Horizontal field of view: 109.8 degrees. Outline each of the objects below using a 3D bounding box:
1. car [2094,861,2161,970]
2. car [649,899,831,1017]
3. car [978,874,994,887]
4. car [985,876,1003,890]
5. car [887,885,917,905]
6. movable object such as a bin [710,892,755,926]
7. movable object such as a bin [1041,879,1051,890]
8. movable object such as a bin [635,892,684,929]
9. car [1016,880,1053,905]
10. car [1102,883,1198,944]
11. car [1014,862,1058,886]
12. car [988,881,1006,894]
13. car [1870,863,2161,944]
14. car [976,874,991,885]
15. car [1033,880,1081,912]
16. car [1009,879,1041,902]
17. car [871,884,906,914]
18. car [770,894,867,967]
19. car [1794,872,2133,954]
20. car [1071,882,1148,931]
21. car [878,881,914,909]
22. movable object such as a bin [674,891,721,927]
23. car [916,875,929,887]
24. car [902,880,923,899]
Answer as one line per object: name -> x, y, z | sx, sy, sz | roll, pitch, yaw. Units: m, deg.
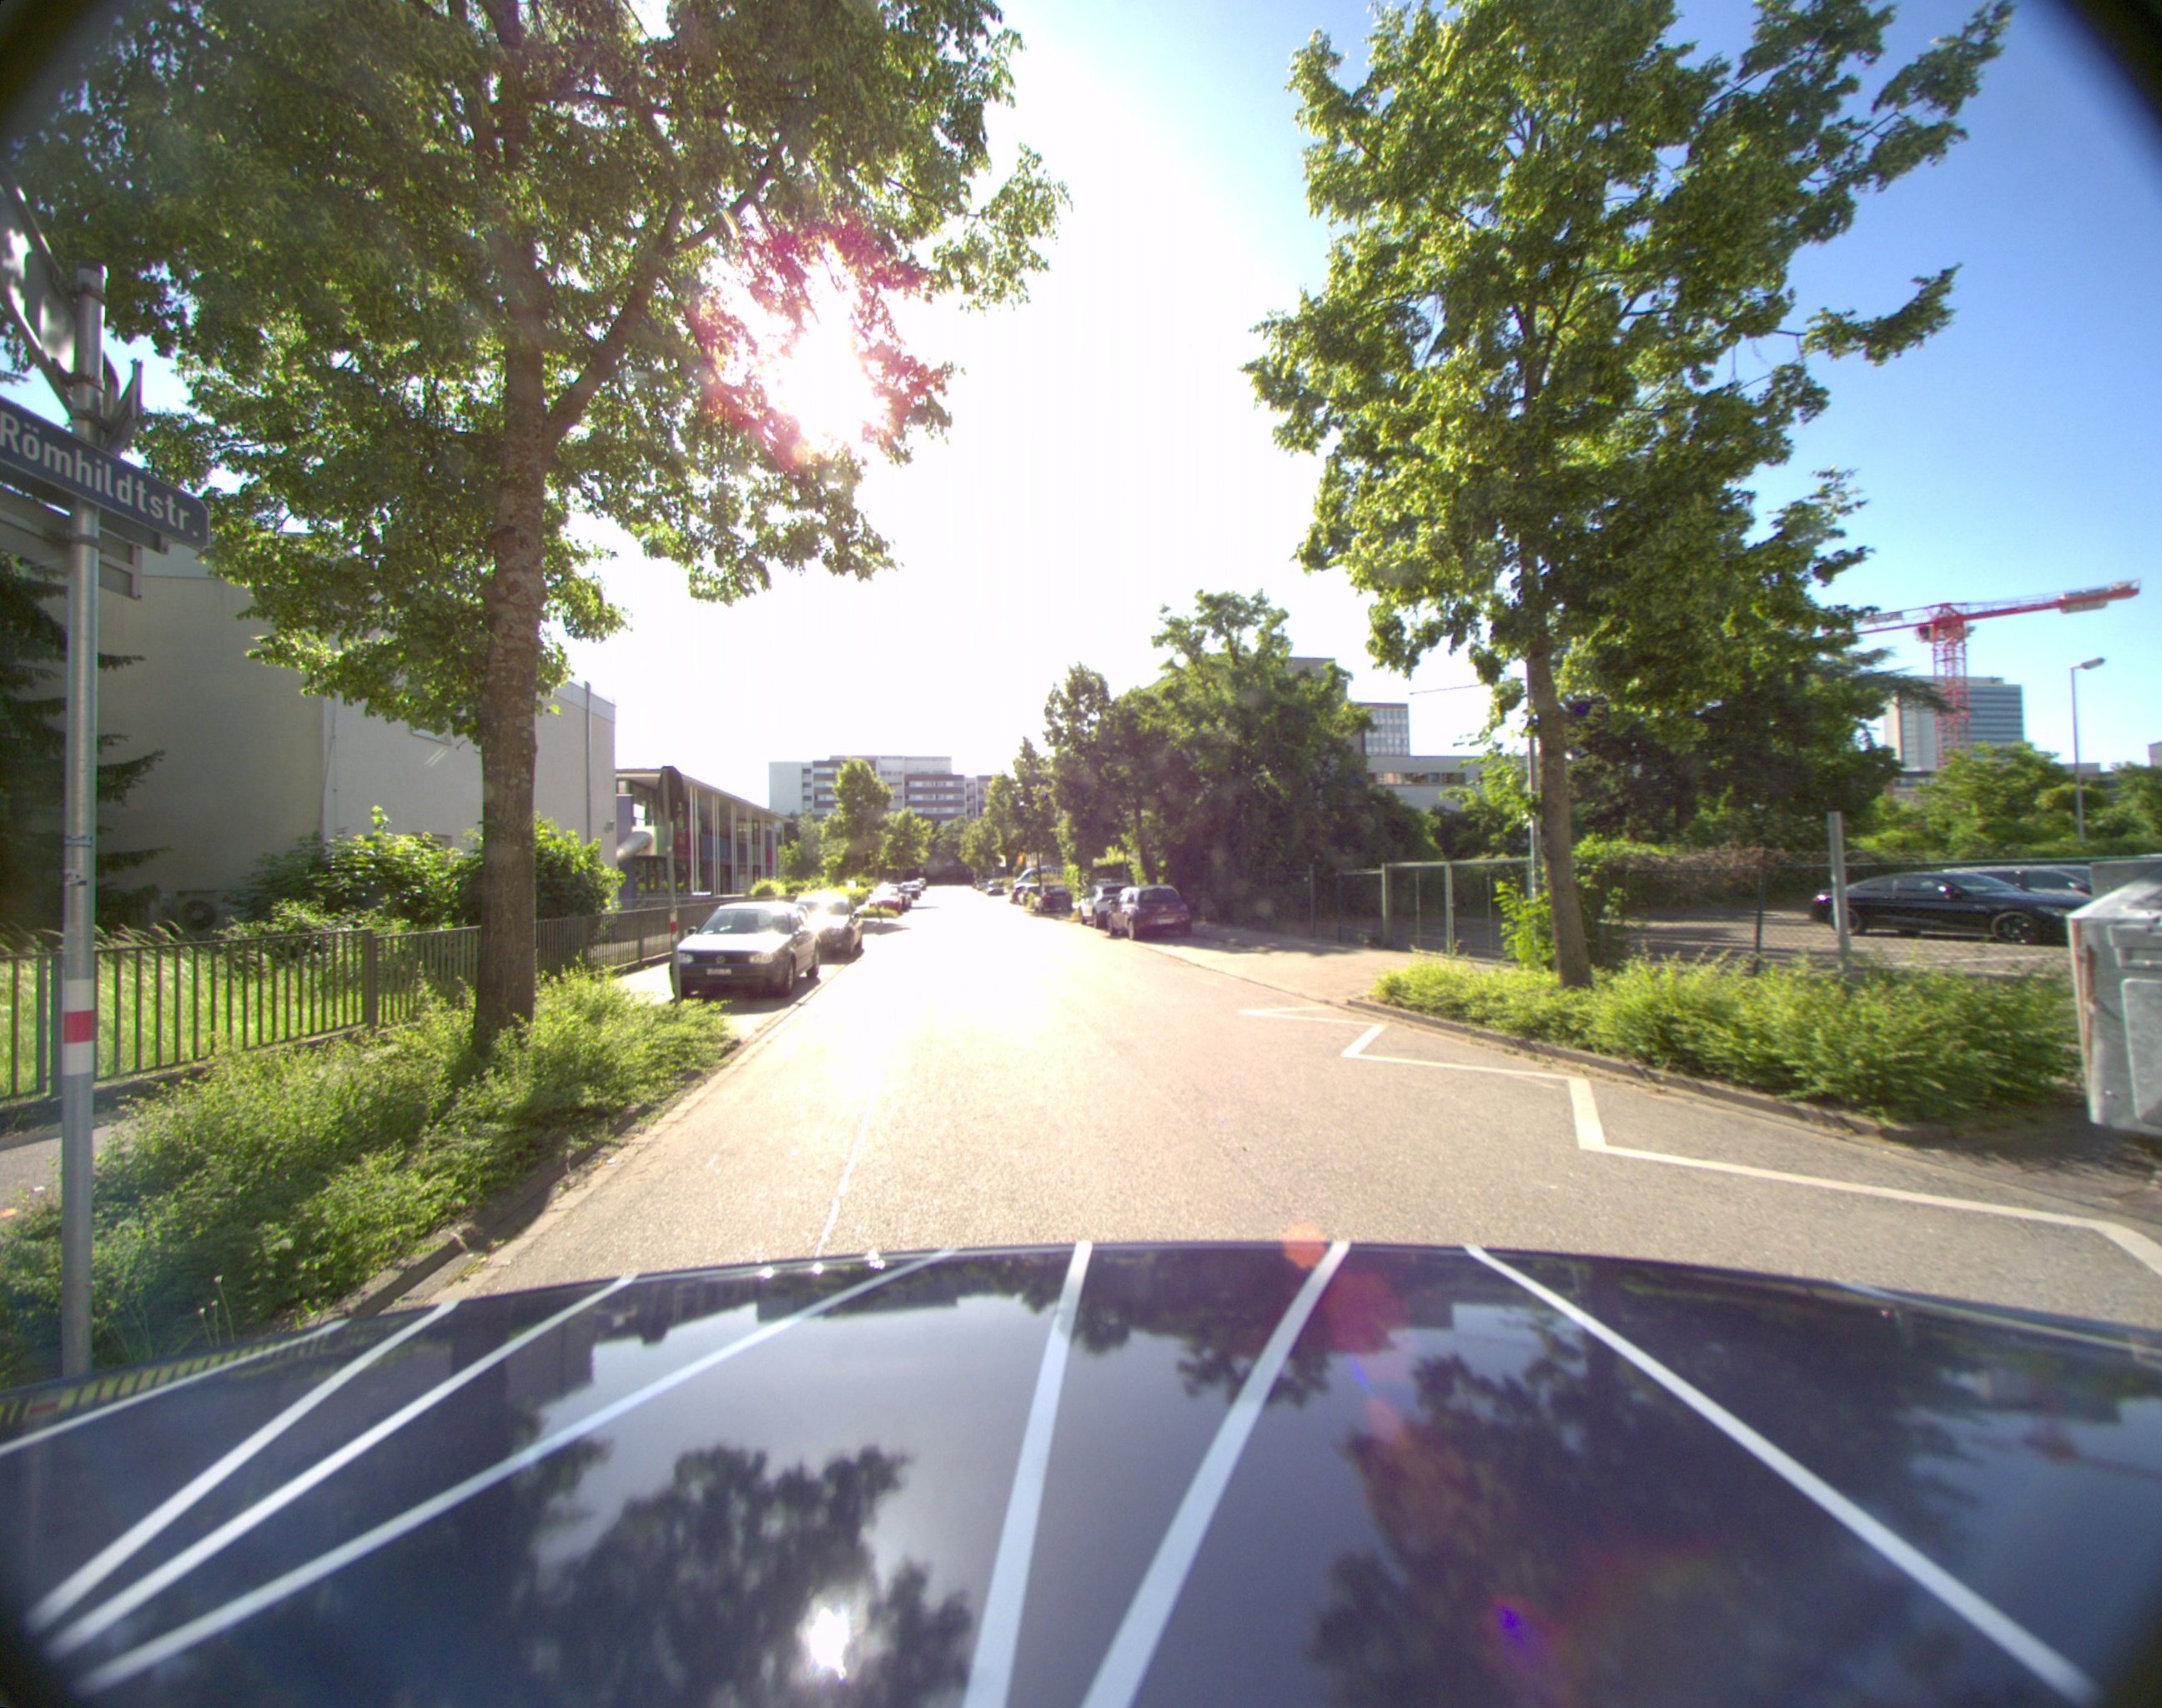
car -> 17.273, 0.859, 9.905 | 2.000, 1.600, 4.424 | -1, -2, -8
car -> -5.594, 1.606, 13.076 | 1.752, 1.413, 4.421 | -2, -1, -10
car -> -13.011, 3.580, 103.962 | 1.797, 1.590, 3.886 | -2, -1, -13
car -> -9.755, 3.235, 84.846 | 1.632, 1.515, 3.560 | -1, -2, -11
car -> -13.035, 2.945, 55.339 | 1.970, 1.312, 4.771 | 1, -2, -14
movable object such as a bin -> -15.071, 2.347, 32.927 | 1.371, 1.349, 1.630 | -1, -1, -10
movable object such as a bin -> -3.603, 3.118, 77.434 | 0.863, 1.031, 0.677 | -4, 0, -13
movable object such as a bin -> -17.945, 2.384, 32.390 | 1.334, 1.439, 1.630 | -1, -1, -10
car -> -3.085, 2.478, 49.723 | 1.846, 1.465, 4.024 | -3, -1, -11
car -> 1.911, 1.661, 22.066 | 1.723, 1.465, 3.543 | -3, -1, -12
car -> -5.691, 2.543, 96.276 | 5.158, 2.885, 2.012 | -1, -1, -14
car -> -8.777, 3.483, 78.924 | 1.632, 1.240, 3.560 | -1, -2, -10
car -> 20.652, 1.002, 16.609 | 1.972, 1.486, 4.373 | -1, -2, -8
car -> -14.466, 3.749, 112.820 | 1.797, 1.509, 3.886 | -2, -1, -13
car -> -1.327, 2.191, 40.351 | 1.846, 1.465, 4.356 | -3, -1, -10
car -> -4.138, 2.668, 55.861 | 1.846, 1.465, 4.097 | -3, -1, -11
car -> -10.861, 2.509, 43.048 | 1.681, 1.494, 3.844 | -1, -2, -11
car -> -6.491, 1.820, 19.151 | 1.790, 1.506, 3.997 | -1, -2, -12
car -> 18.560, 1.164, 16.377 | 1.972, 1.447, 4.373 | -1, -2, -8
car -> 0.922, 1.810, 27.203 | 1.846, 1.465, 3.999 | -3, -1, -11
car -> -11.799, 2.586, 48.635 | 1.906, 1.672, 4.408 | 0, -1, -10
movable object such as a bin -> -16.490, 2.332, 32.720 | 1.371, 1.439, 1.630 | -1, -1, -10
car -> -22.272, 3.799, 106.709 | 1.646, 1.458, 3.700 | 2, 0, -11
car -> -16.170, 3.378, 73.133 | 1.825, 1.637, 4.485 | 2, -2, -11
